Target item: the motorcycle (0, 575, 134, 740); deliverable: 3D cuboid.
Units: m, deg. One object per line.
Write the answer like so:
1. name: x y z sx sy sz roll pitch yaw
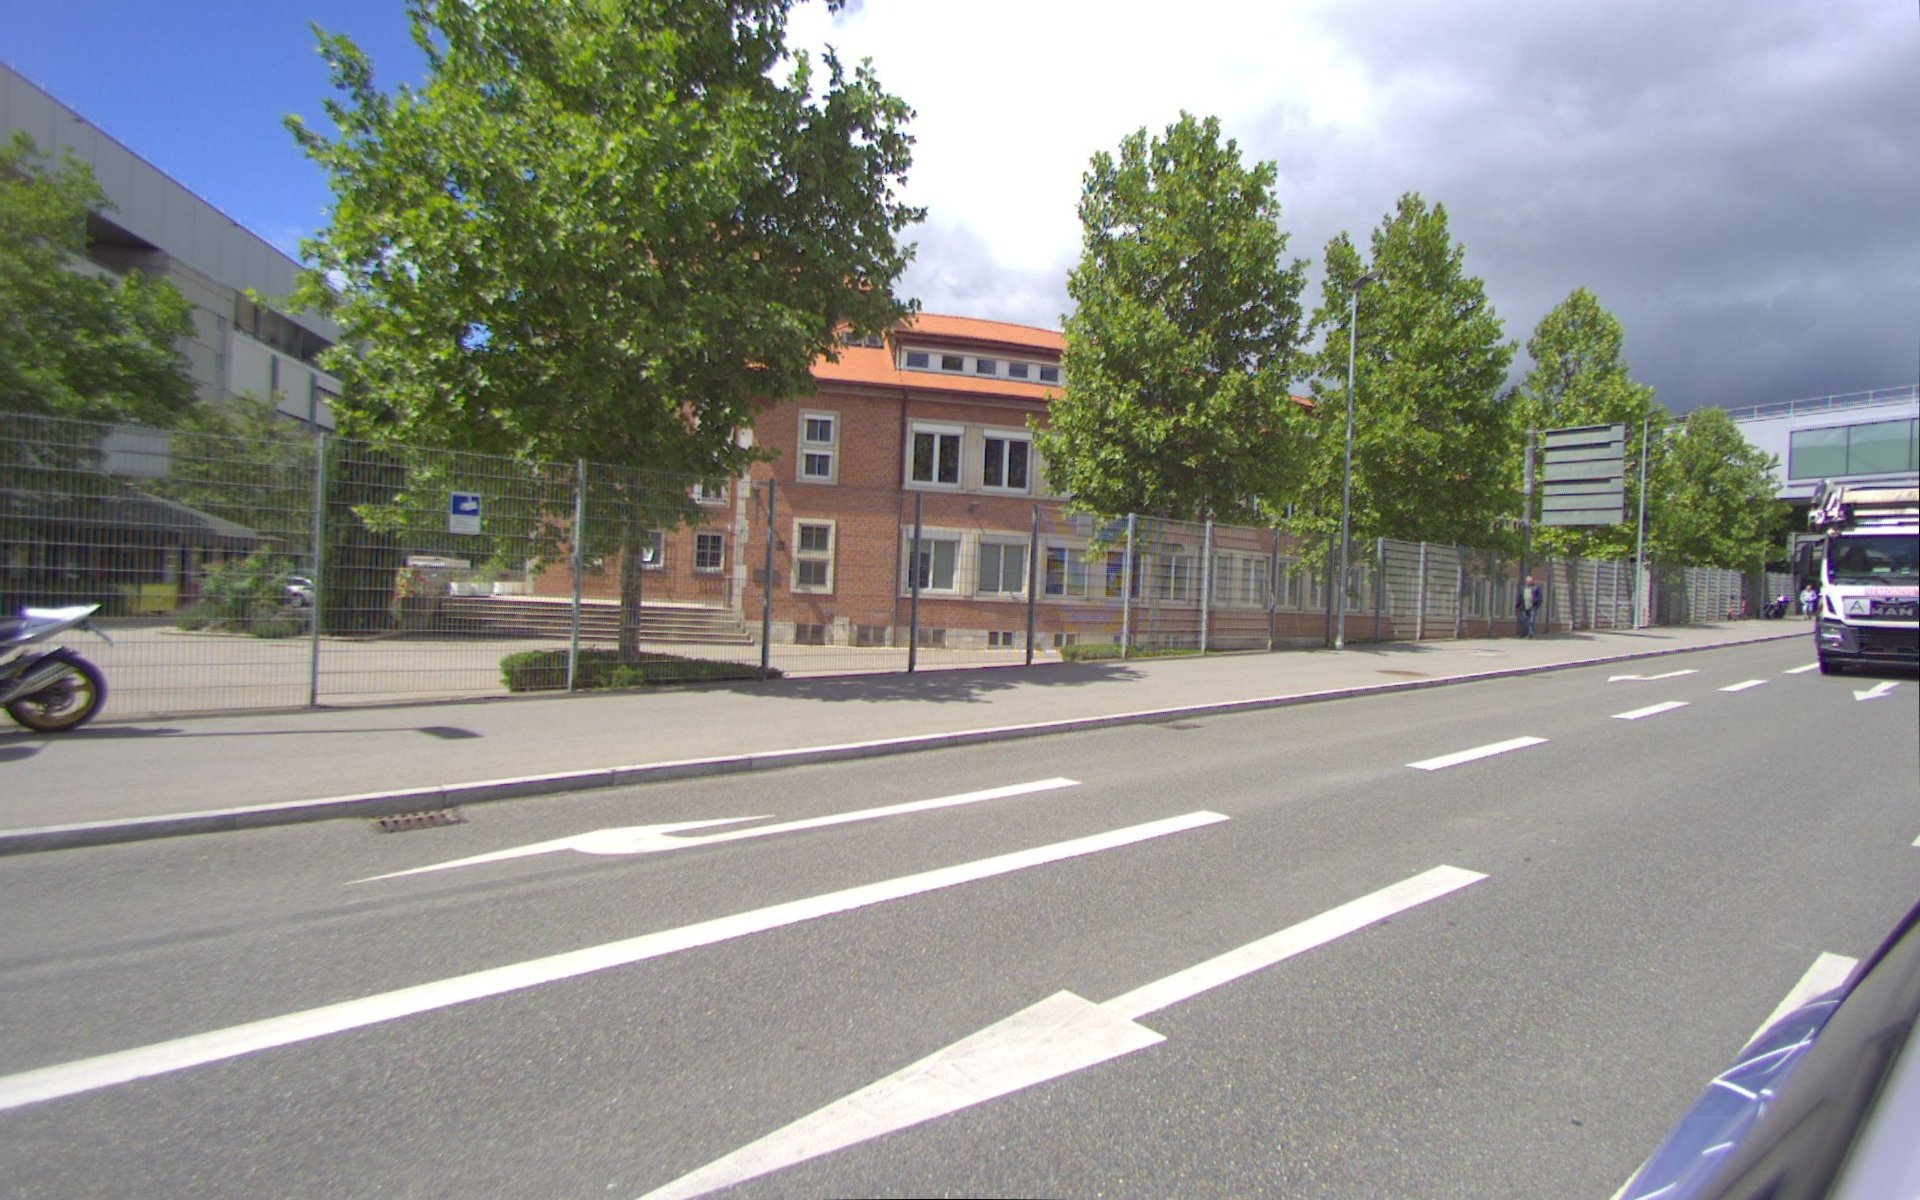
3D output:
1. motorcycle: -7.382 0.411 7.325 0.693 1.172 2.113 4 3 44

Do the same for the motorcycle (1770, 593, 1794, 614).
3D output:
1. motorcycle: 44.530 0.192 54.815 2.209 1.077 0.669 -1 4 -43

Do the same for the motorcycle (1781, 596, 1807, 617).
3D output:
1. motorcycle: 46.853 0.364 56.831 2.467 1.077 0.709 -1 4 -43

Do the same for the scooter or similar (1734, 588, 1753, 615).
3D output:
1. scooter or similar: 39.020 0.062 50.377 1.314 1.310 0.492 0 3 -42

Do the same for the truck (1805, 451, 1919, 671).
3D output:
1. truck: 21.205 -0.729 22.210 9.914 4.055 2.784 0 1 -43

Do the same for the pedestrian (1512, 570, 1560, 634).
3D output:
1. pedestrian: 16.533 0.045 29.040 0.924 1.764 0.879 0 3 -42

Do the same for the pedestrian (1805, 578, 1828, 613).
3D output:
1. pedestrian: 48.115 -0.245 56.846 1.078 1.911 0.790 0 2 -43

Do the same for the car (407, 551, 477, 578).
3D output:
1. car: -35.890 -2.464 70.166 3.916 1.805 2.004 -1 1 -13
